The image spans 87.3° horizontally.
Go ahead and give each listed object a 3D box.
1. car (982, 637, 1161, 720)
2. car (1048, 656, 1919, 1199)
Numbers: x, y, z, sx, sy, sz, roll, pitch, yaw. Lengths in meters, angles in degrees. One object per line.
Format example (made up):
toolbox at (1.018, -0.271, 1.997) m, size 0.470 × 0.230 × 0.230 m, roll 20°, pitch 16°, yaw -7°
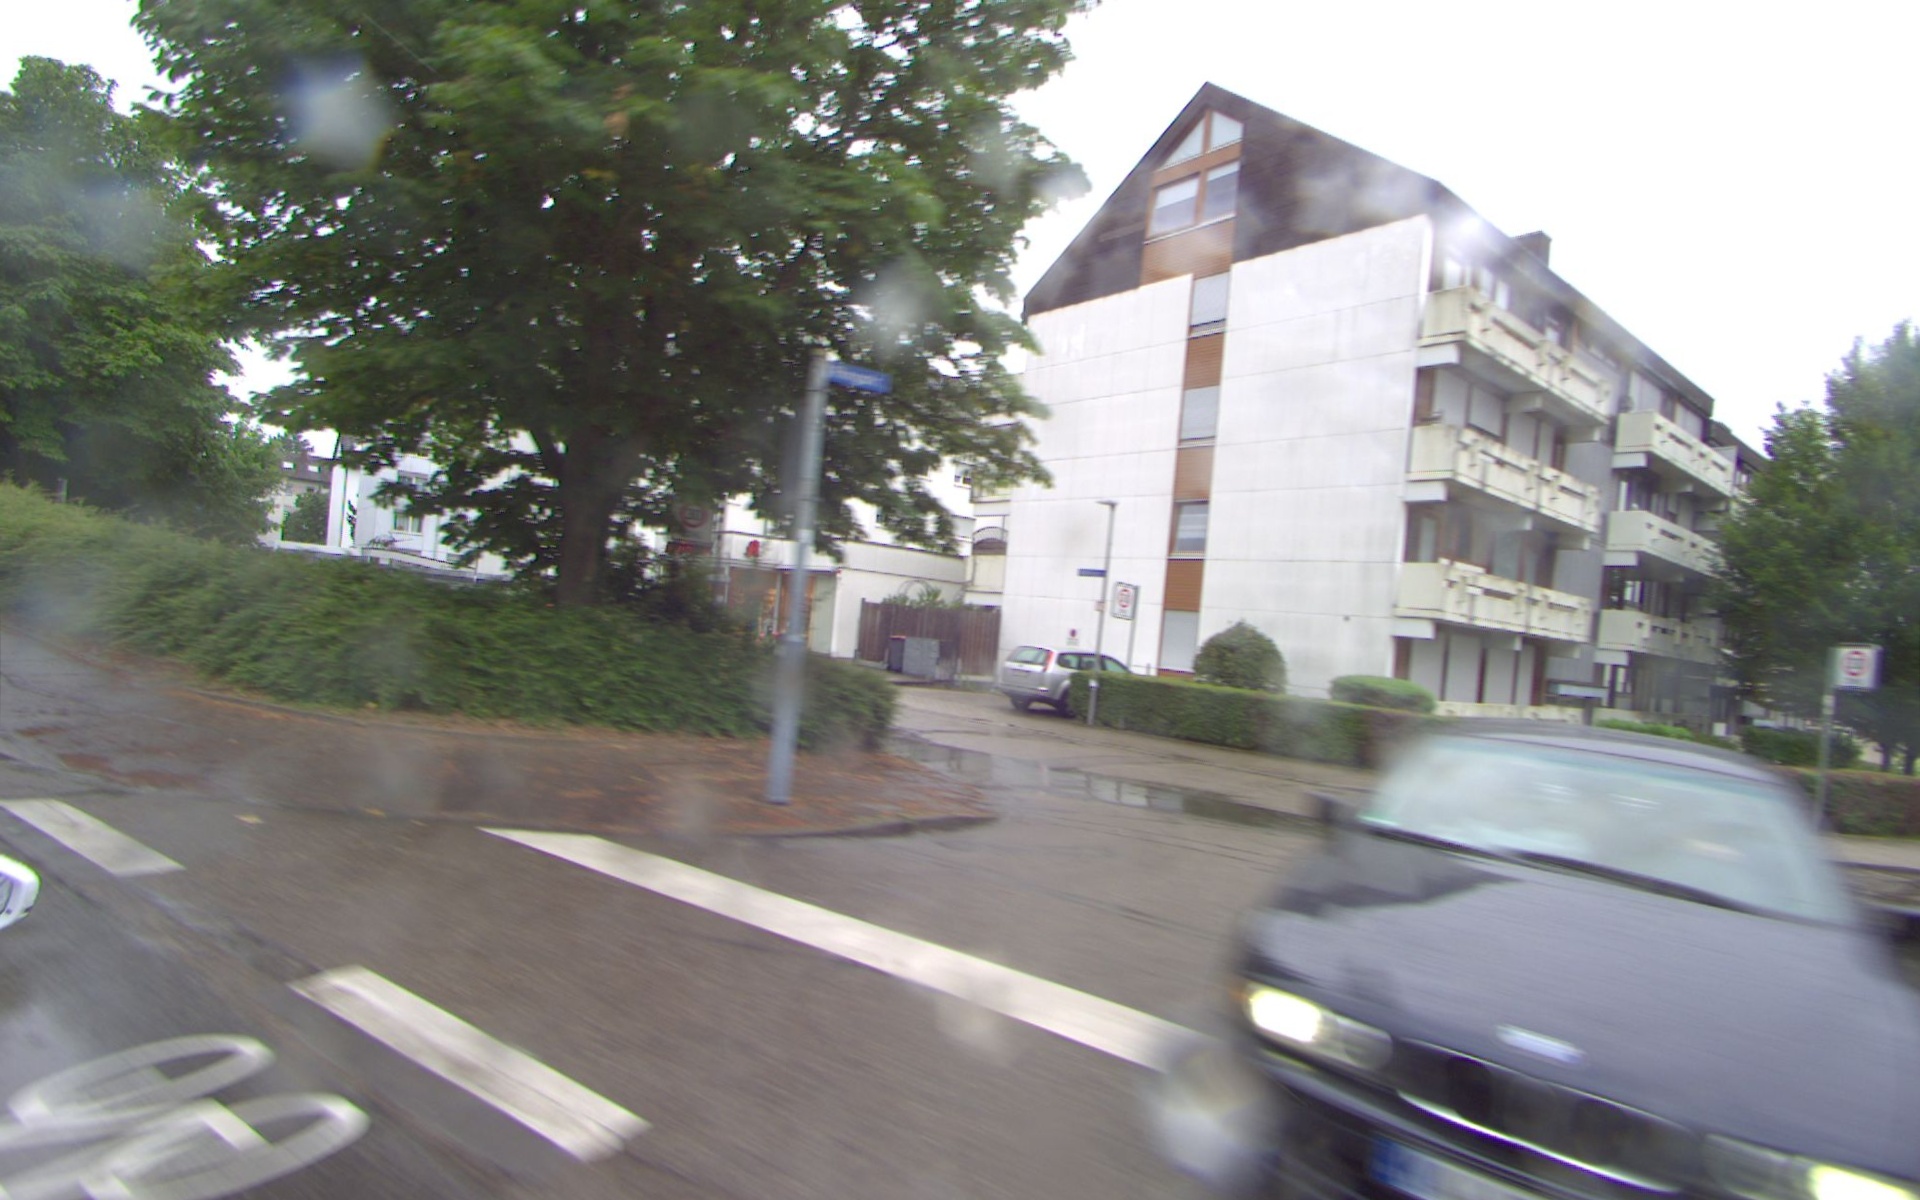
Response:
car at (2.639, 1.840, 23.220) m, size 3.974 × 1.479 × 1.840 m, roll 8°, pitch -1°, yaw -43°
car at (2.456, 1.177, 3.951) m, size 1.918 × 1.403 × 4.601 m, roll 6°, pitch -3°, yaw 38°
